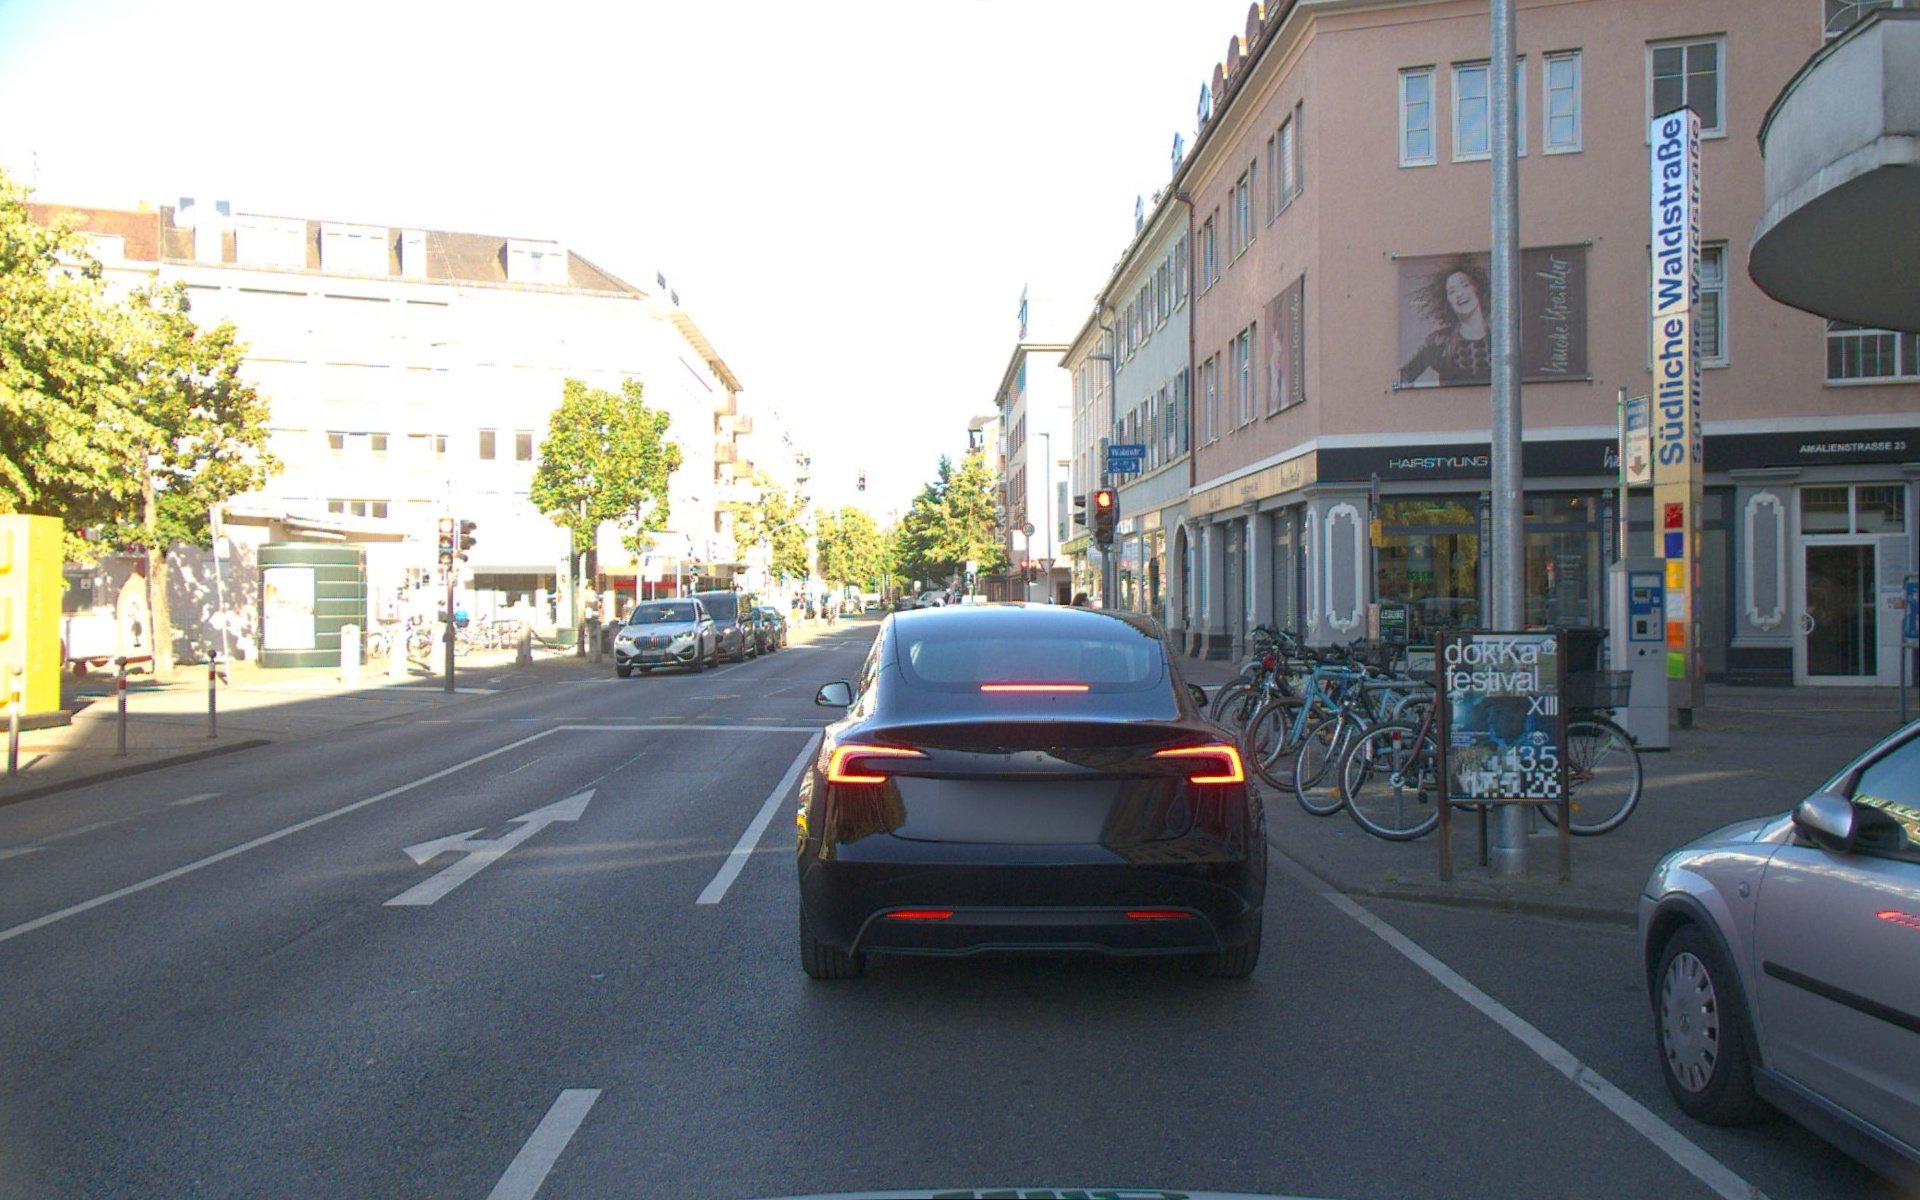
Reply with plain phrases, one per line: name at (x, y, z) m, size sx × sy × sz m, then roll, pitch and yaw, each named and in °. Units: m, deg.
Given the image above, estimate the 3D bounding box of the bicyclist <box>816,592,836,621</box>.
bicyclist at (-7.719, 0.369, 95.482) m, size 1.104 × 1.657 × 0.964 m, roll 0°, pitch 0°, yaw -4°

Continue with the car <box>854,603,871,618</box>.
car at (-10.996, 1.205, 186.880) m, size 1.954 × 1.666 × 3.997 m, roll 0°, pitch 0°, yaw -4°

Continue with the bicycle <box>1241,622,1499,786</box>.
bicycle at (3.059, 0.772, 12.496) m, size 1.760 × 1.144 × 0.782 m, roll -2°, pitch 0°, yaw 5°

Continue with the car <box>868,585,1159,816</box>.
car at (0.290, 0.669, 13.194) m, size 1.953 × 1.538 × 4.173 m, roll 0°, pitch 0°, yaw -2°

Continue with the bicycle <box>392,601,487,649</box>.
bicycle at (-14.712, 0.698, 46.798) m, size 2.429 × 1.347 × 0.921 m, roll 0°, pitch 0°, yaw -6°

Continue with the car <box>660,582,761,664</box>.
car at (-6.331, 0.536, 42.490) m, size 1.797 × 1.877 × 4.674 m, roll -4°, pitch 0°, yaw 0°

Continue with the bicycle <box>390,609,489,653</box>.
bicycle at (-14.104, 0.844, 44.875) m, size 2.412 × 1.176 × 0.842 m, roll 0°, pitch 0°, yaw -2°

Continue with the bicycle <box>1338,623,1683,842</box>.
bicycle at (3.289, 0.785, 10.016) m, size 1.846 × 1.214 × 0.692 m, roll -2°, pitch 1°, yaw 5°

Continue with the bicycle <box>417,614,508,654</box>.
bicycle at (-14.890, 1.016, 49.552) m, size 2.485 × 1.176 × 0.841 m, roll 0°, pitch 0°, yaw -6°

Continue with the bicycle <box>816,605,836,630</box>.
bicycle at (-7.702, 0.996, 95.389) m, size 1.089 × 1.368 × 3.997 m, roll 0°, pitch 0°, yaw -4°

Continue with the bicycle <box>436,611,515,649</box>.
bicycle at (-15.214, 0.942, 51.975) m, size 2.279 × 1.176 × 0.841 m, roll 0°, pitch 0°, yaw -6°

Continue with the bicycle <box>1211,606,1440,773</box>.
bicycle at (2.990, 0.722, 13.674) m, size 1.709 × 1.289 × 0.781 m, roll -2°, pitch 0°, yaw 2°

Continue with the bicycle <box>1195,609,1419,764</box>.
bicycle at (3.055, 0.749, 14.705) m, size 1.822 × 1.280 × 0.833 m, roll -2°, pitch 0°, yaw 5°

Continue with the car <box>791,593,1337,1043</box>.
car at (0.317, 0.725, 7.485) m, size 1.810 × 1.480 × 3.999 m, roll 0°, pitch 0°, yaw -1°

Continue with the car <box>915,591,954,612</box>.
car at (-2.580, 0.152, 167.504) m, size 3.907 × 2.049 × 1.999 m, roll 0°, pitch 0°, yaw -2°

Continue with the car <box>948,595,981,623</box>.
car at (0.251, 0.517, 100.746) m, size 1.953 × 1.657 × 3.999 m, roll 0°, pitch 0°, yaw -1°

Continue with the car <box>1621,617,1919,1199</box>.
car at (2.934, 0.780, 3.506) m, size 1.580 × 1.406 × 3.642 m, roll 1°, pitch 0°, yaw 0°

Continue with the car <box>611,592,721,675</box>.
car at (-6.383, 0.689, 36.277) m, size 1.771 × 1.582 × 4.307 m, roll -4°, pitch 0°, yaw -3°

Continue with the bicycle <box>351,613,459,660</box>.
bicycle at (-14.190, 0.924, 42.341) m, size 2.455 × 1.176 × 0.842 m, roll 0°, pitch 0°, yaw -2°

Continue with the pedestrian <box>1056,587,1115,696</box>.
pedestrian at (1.830, 0.599, 24.210) m, size 0.733 × 1.579 × 0.698 m, roll 0°, pitch 0°, yaw -7°

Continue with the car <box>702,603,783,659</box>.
car at (-6.422, 0.885, 49.312) m, size 1.954 × 1.434 × 4.671 m, roll -4°, pitch 0°, yaw -3°

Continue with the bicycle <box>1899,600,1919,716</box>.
bicycle at (10.278, 0.604, 17.008) m, size 0.645 × 1.220 × 2.212 m, roll 0°, pitch 0°, yaw 18°

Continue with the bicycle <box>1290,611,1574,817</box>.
bicycle at (3.142, 0.750, 11.146) m, size 1.686 × 1.290 × 0.791 m, roll -2°, pitch 0°, yaw 5°

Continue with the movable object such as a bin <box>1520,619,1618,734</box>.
movable object such as a bin at (6.046, 0.749, 16.453) m, size 0.737 × 1.111 × 0.627 m, roll 1°, pitch 0°, yaw 1°

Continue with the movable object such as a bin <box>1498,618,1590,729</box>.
movable object such as a bin at (6.025, 0.751, 17.091) m, size 0.718 × 1.111 × 0.627 m, roll 1°, pitch 0°, yaw 1°

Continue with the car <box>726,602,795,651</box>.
car at (-6.806, 0.872, 56.897) m, size 1.954 × 1.461 × 4.671 m, roll -4°, pitch 0°, yaw -3°
